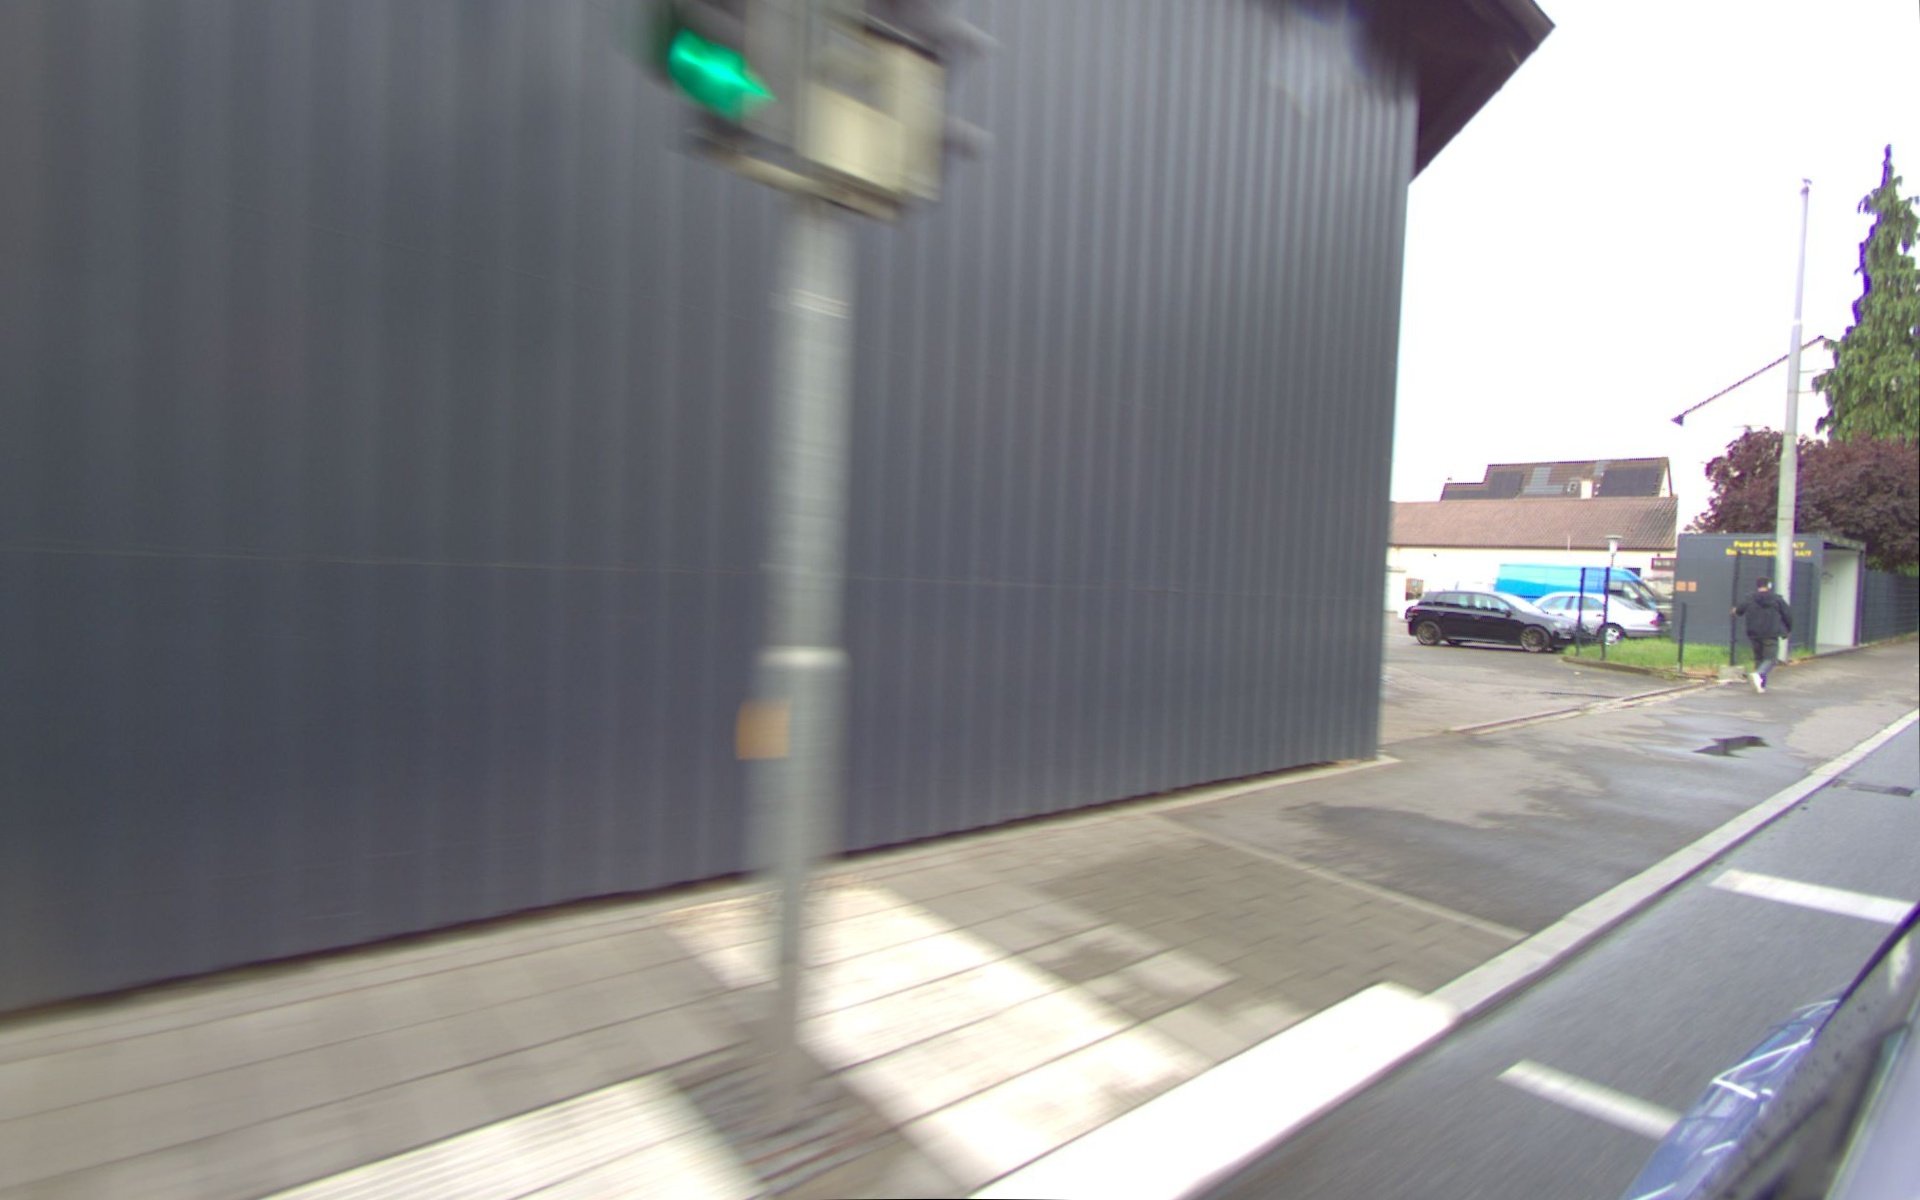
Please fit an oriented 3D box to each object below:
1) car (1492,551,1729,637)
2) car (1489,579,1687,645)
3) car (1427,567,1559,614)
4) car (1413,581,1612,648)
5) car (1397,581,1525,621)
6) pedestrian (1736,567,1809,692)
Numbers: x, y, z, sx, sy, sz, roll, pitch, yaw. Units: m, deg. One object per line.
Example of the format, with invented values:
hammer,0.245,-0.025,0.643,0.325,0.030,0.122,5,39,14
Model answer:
car,19.209,-0.265,30.159,1.966,2.238,5.577,0,3,-42
car,17.438,0.262,28.276,1.764,1.549,4.386,-2,4,-42
car,22.678,-0.459,43.163,1.968,1.714,4.600,-2,5,-45
car,13.661,0.294,25.194,1.753,1.441,3.996,-2,3,-39
car,20.371,0.012,41.265,1.771,1.441,4.359,0,2,-45
pedestrian,11.707,0.388,14.581,0.742,1.725,0.887,1,2,44
